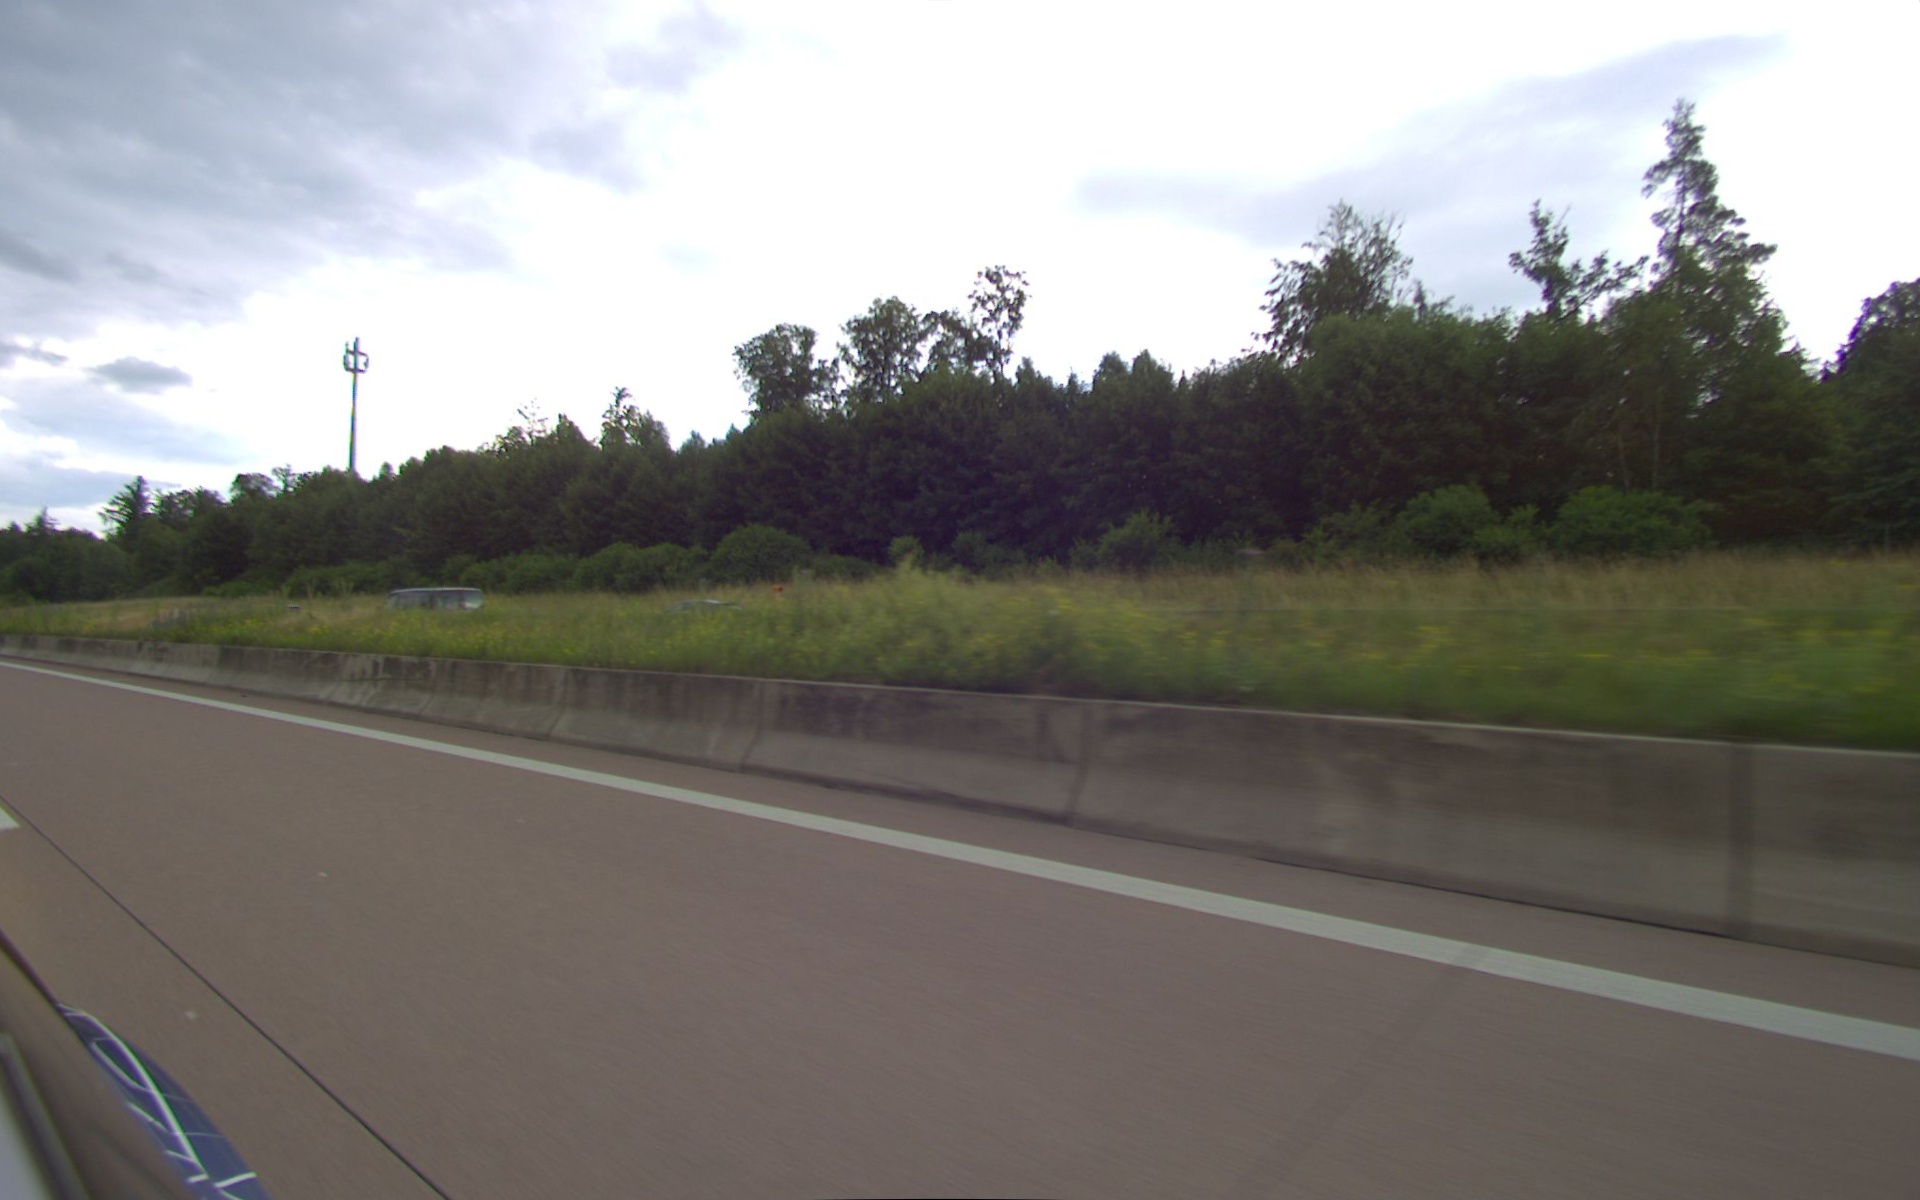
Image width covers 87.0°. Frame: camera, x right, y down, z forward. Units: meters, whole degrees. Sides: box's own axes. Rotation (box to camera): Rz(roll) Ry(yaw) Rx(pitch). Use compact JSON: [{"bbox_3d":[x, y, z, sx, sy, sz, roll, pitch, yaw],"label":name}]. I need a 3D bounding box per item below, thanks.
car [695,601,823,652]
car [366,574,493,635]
[{"bbox_3d":[-6.640,0.819,33.188,4.408,1.536,1.715,1,1,40],"label":"car"},{"bbox_3d":[-17.218,0.115,32.715,5.222,1.831,1.856,1,1,41],"label":"car"}]
